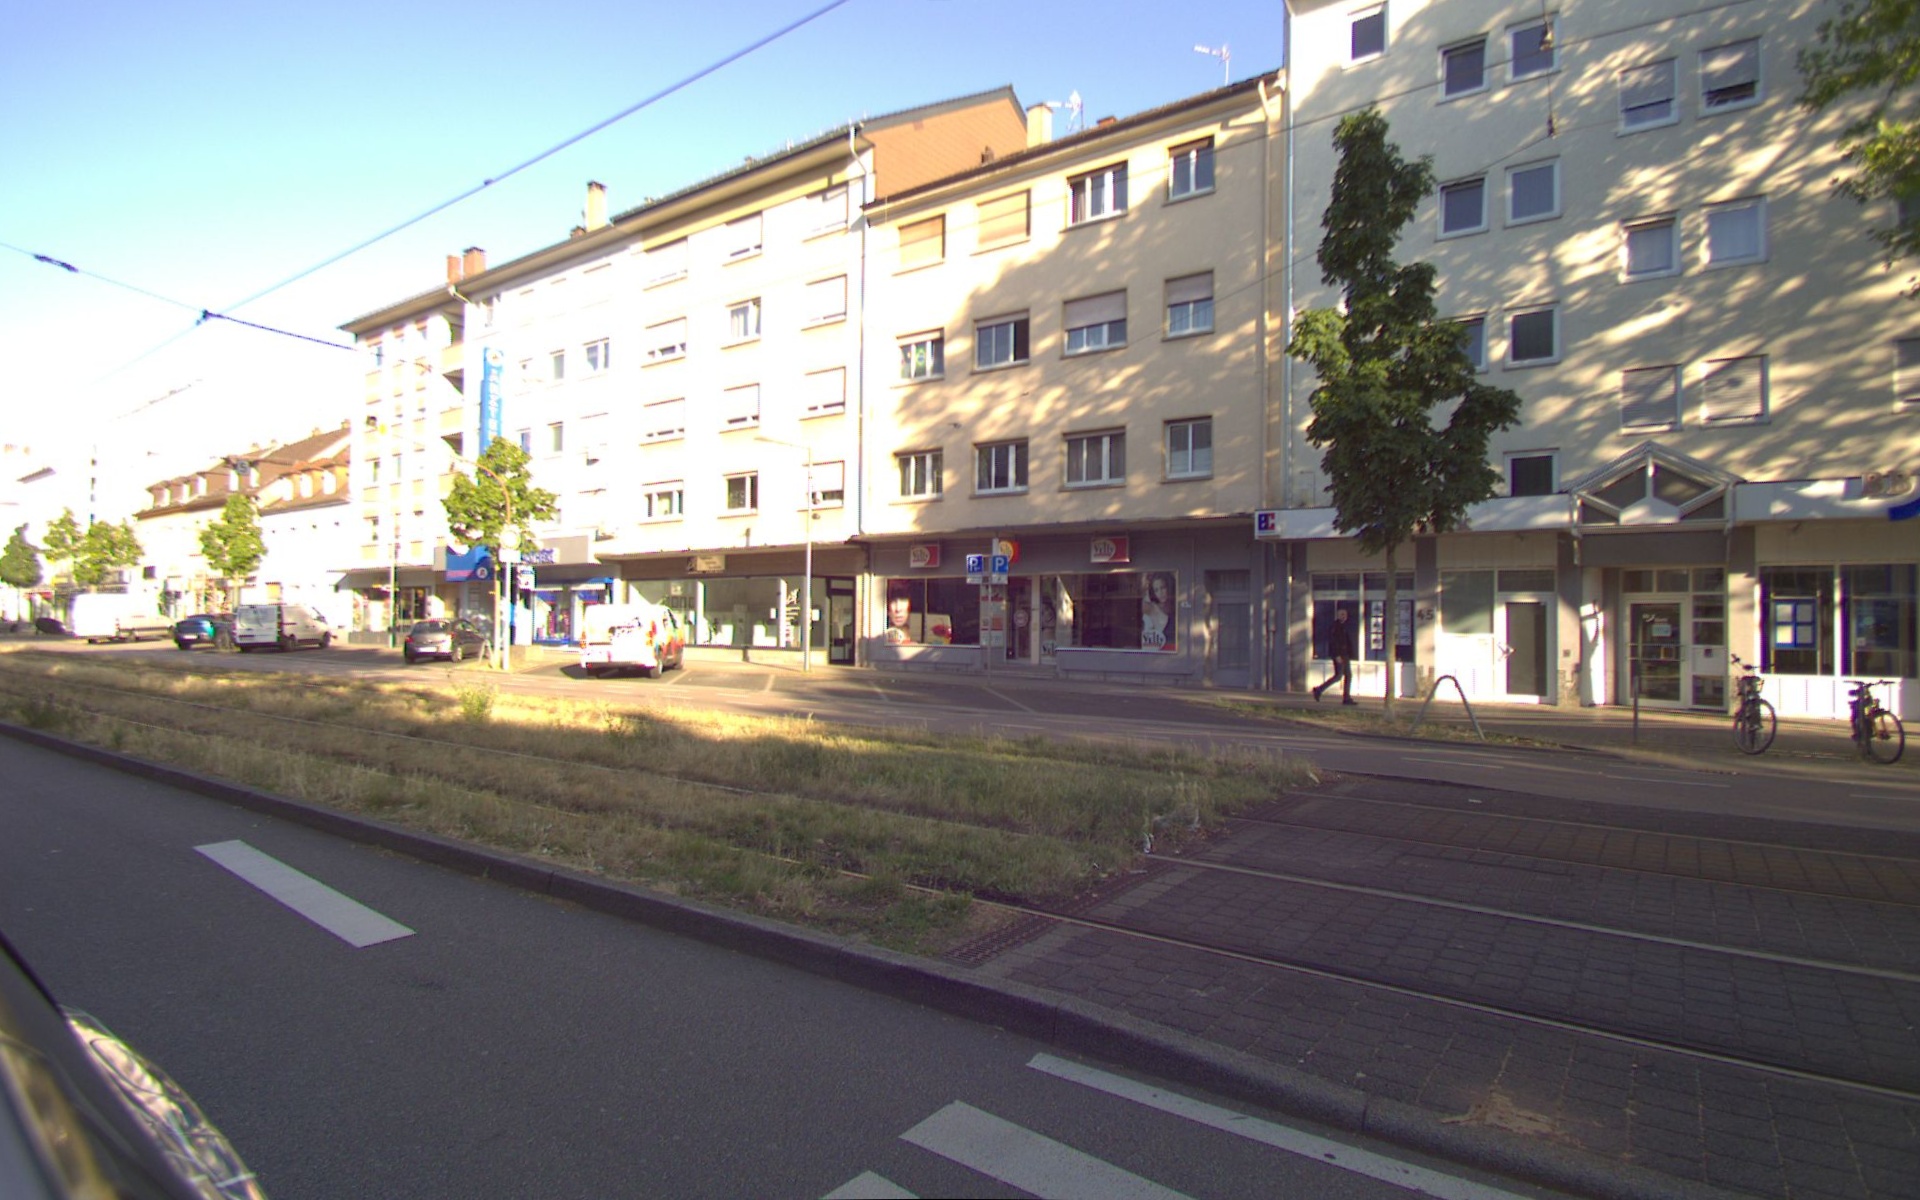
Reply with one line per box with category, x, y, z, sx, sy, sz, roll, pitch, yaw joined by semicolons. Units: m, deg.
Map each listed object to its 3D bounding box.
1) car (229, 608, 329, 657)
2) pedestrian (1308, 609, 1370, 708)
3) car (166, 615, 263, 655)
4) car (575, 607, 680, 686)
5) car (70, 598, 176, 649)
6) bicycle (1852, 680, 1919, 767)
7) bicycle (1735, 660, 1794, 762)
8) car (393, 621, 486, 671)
car;-28.647;1.308;42.744;1.828;1.952;4.514;0;0;-10
pedestrian;7.300;1.096;19.504;0.916;1.841;0.747;-1;-1;41
car;-34.178;1.560;46.528;1.830;1.727;3.919;0;0;-4
car;-8.804;1.158;27.104;1.830;1.913;4.005;0;0;-6
car;-45.412;1.220;55.121;1.895;2.634;6.608;0;0;-16
bicycle;11.384;1.487;12.437;0.471;0.895;1.724;-1;-1;36
bicycle;10.294;1.384;12.983;0.511;1.147;1.724;-1;-1;36
car;-17.603;1.513;34.410;1.708;1.508;4.009;0;0;-10
